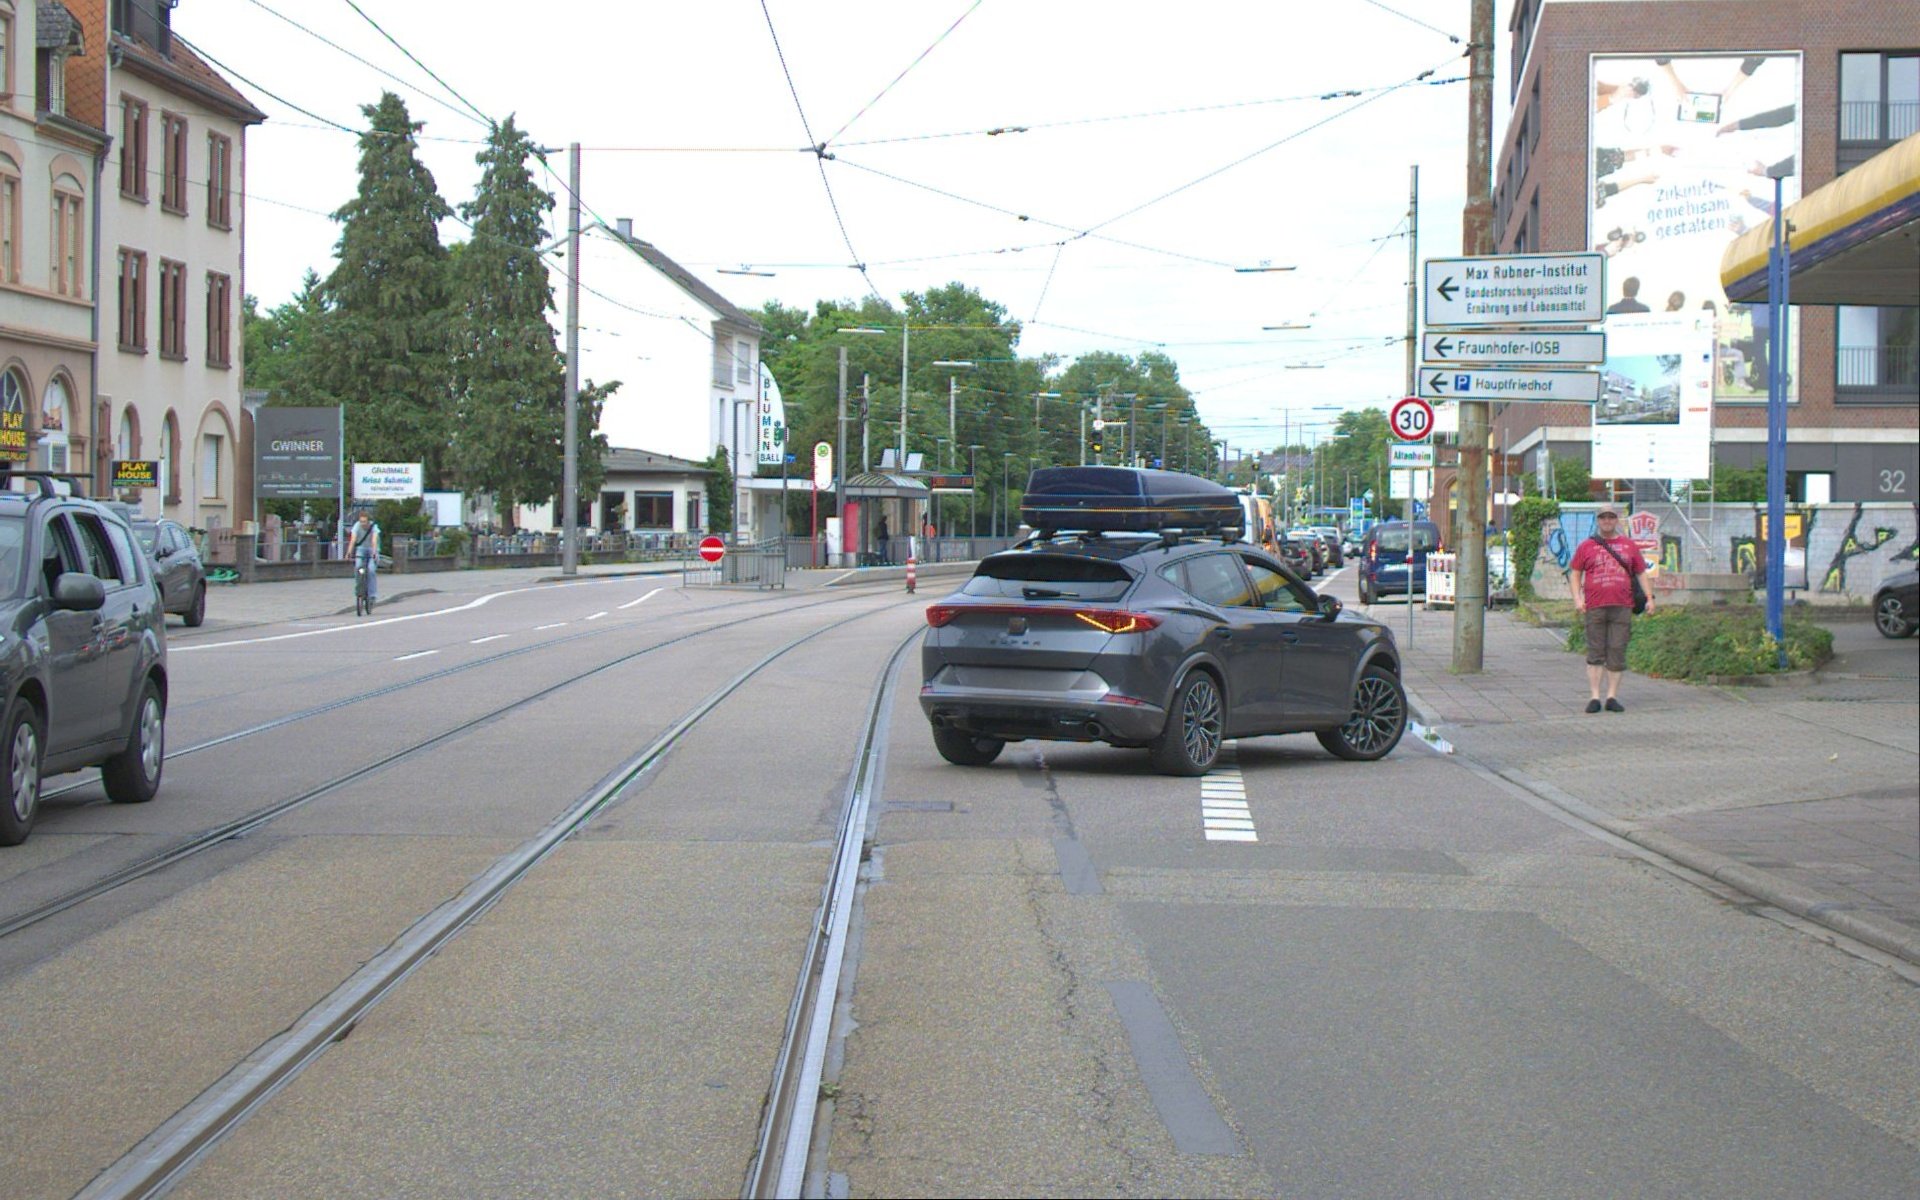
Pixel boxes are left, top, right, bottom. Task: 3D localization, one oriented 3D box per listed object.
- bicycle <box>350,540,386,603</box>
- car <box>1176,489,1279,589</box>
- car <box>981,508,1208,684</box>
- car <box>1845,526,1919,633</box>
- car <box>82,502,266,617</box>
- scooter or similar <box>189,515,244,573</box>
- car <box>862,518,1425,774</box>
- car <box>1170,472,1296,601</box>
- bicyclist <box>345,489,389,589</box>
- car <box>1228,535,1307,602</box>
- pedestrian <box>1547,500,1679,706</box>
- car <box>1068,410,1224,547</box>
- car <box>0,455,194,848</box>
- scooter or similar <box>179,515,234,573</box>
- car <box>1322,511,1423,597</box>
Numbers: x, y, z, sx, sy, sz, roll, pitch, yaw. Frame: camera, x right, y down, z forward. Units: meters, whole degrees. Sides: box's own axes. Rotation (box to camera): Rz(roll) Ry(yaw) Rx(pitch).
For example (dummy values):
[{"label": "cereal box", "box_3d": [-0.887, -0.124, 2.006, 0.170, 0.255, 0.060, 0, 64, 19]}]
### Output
[{"label": "bicycle", "box_3d": [-10.450, -0.510, 60.625, 0.586, 1.070, 1.958, -1, 1, -10]}, {"label": "car", "box_3d": [6.074, -1.375, 78.576, 2.139, 2.138, 4.743, 2, 1, 3]}, {"label": "car", "box_3d": [1.244, -0.086, 33.618, 1.981, 1.544, 4.183, 2, 1, 0]}, {"label": "car", "box_3d": [13.926, -0.253, 45.611, 1.946, 1.422, 4.888, 0, 1, -17]}, {"label": "car", "box_3d": [-12.544, -0.657, 55.133, 1.844, 1.712, 4.193, 2, 1, 1]}, {"label": "scooter or similar", "box_3d": [-15.617, -1.173, 72.241, 1.049, 1.184, 0.318, 2, 1, -32]}, {"label": "car", "box_3d": [1.324, 0.232, 22.702, 1.993, 1.492, 4.319, 1, 2, 29]}, {"label": "car", "box_3d": [5.446, -1.268, 69.081, 2.216, 2.415, 4.951, 2, 1, 2]}, {"label": "bicyclist", "box_3d": [-10.456, -1.071, 60.618, 0.735, 1.743, 0.979, -1, 1, -10]}, {"label": "car", "box_3d": [9.644, -0.990, 108.077, 1.993, 2.007, 4.000, 2, 1, -1]}, {"label": "pedestrian", "box_3d": [5.652, 0.023, 29.806, 0.972, 1.732, 0.861, -1, 0, 3]}, {"label": "car", "box_3d": [2.536, -1.642, 47.590, 1.969, 1.750, 3.838, 2, 1, 1]}, {"label": "car", "box_3d": [-5.139, 0.196, 16.778, 1.827, 1.731, 4.335, 0, 1, 0]}, {"label": "scooter or similar", "box_3d": [-15.917, -1.186, 72.597, 1.049, 1.184, 0.318, 2, 1, -32]}, {"label": "car", "box_3d": [9.242, -1.035, 77.273, 1.874, 1.817, 4.096, 2, 1, 3]}]
